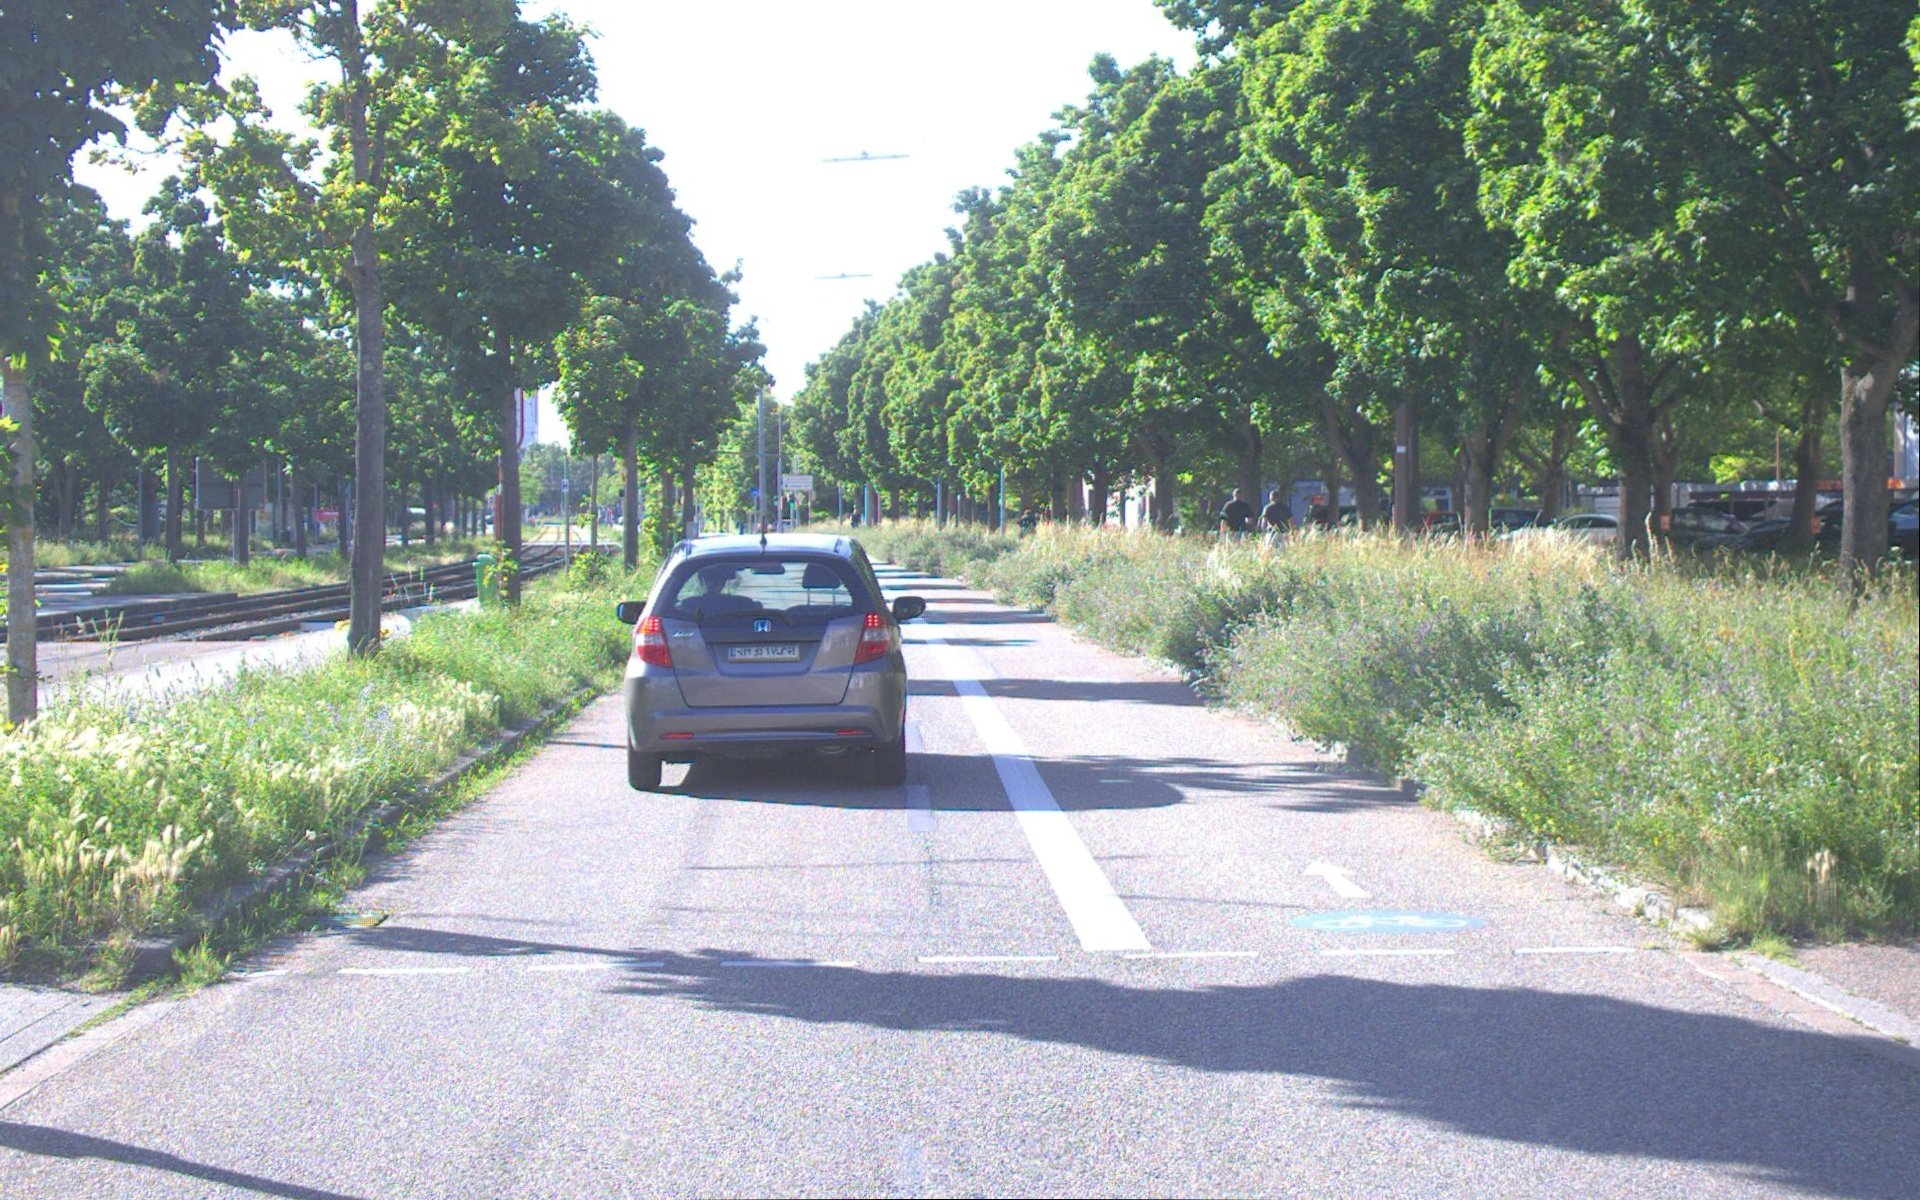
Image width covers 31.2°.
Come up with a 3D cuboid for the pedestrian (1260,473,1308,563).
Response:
[{"bbox_3d":[6.781,-1.720,71.997,0.882,1.877,0.875,0,1,-4],"label":"pedestrian"}]

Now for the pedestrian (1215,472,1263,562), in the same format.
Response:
[{"bbox_3d":[5.840,-1.738,71.987,0.882,1.877,0.875,0,1,-4],"label":"pedestrian"}]

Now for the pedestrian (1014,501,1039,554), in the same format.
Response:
[{"bbox_3d":[2.114,-2.301,109.228,0.725,1.684,0.821,0,1,-2],"label":"pedestrian"}]

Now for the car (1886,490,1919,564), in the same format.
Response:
[{"bbox_3d":[21.044,-1.489,69.603,3.995,1.508,1.996,1,2,36],"label":"car"}]

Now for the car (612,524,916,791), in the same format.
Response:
[{"bbox_3d":[-1.155,0.327,21.694,1.701,1.518,3.709,1,0,0],"label":"car"}]

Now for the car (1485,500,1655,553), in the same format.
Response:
[{"bbox_3d":[18.204,-2.199,102.688,4.630,1.550,2.000,0,1,-6],"label":"car"}]
